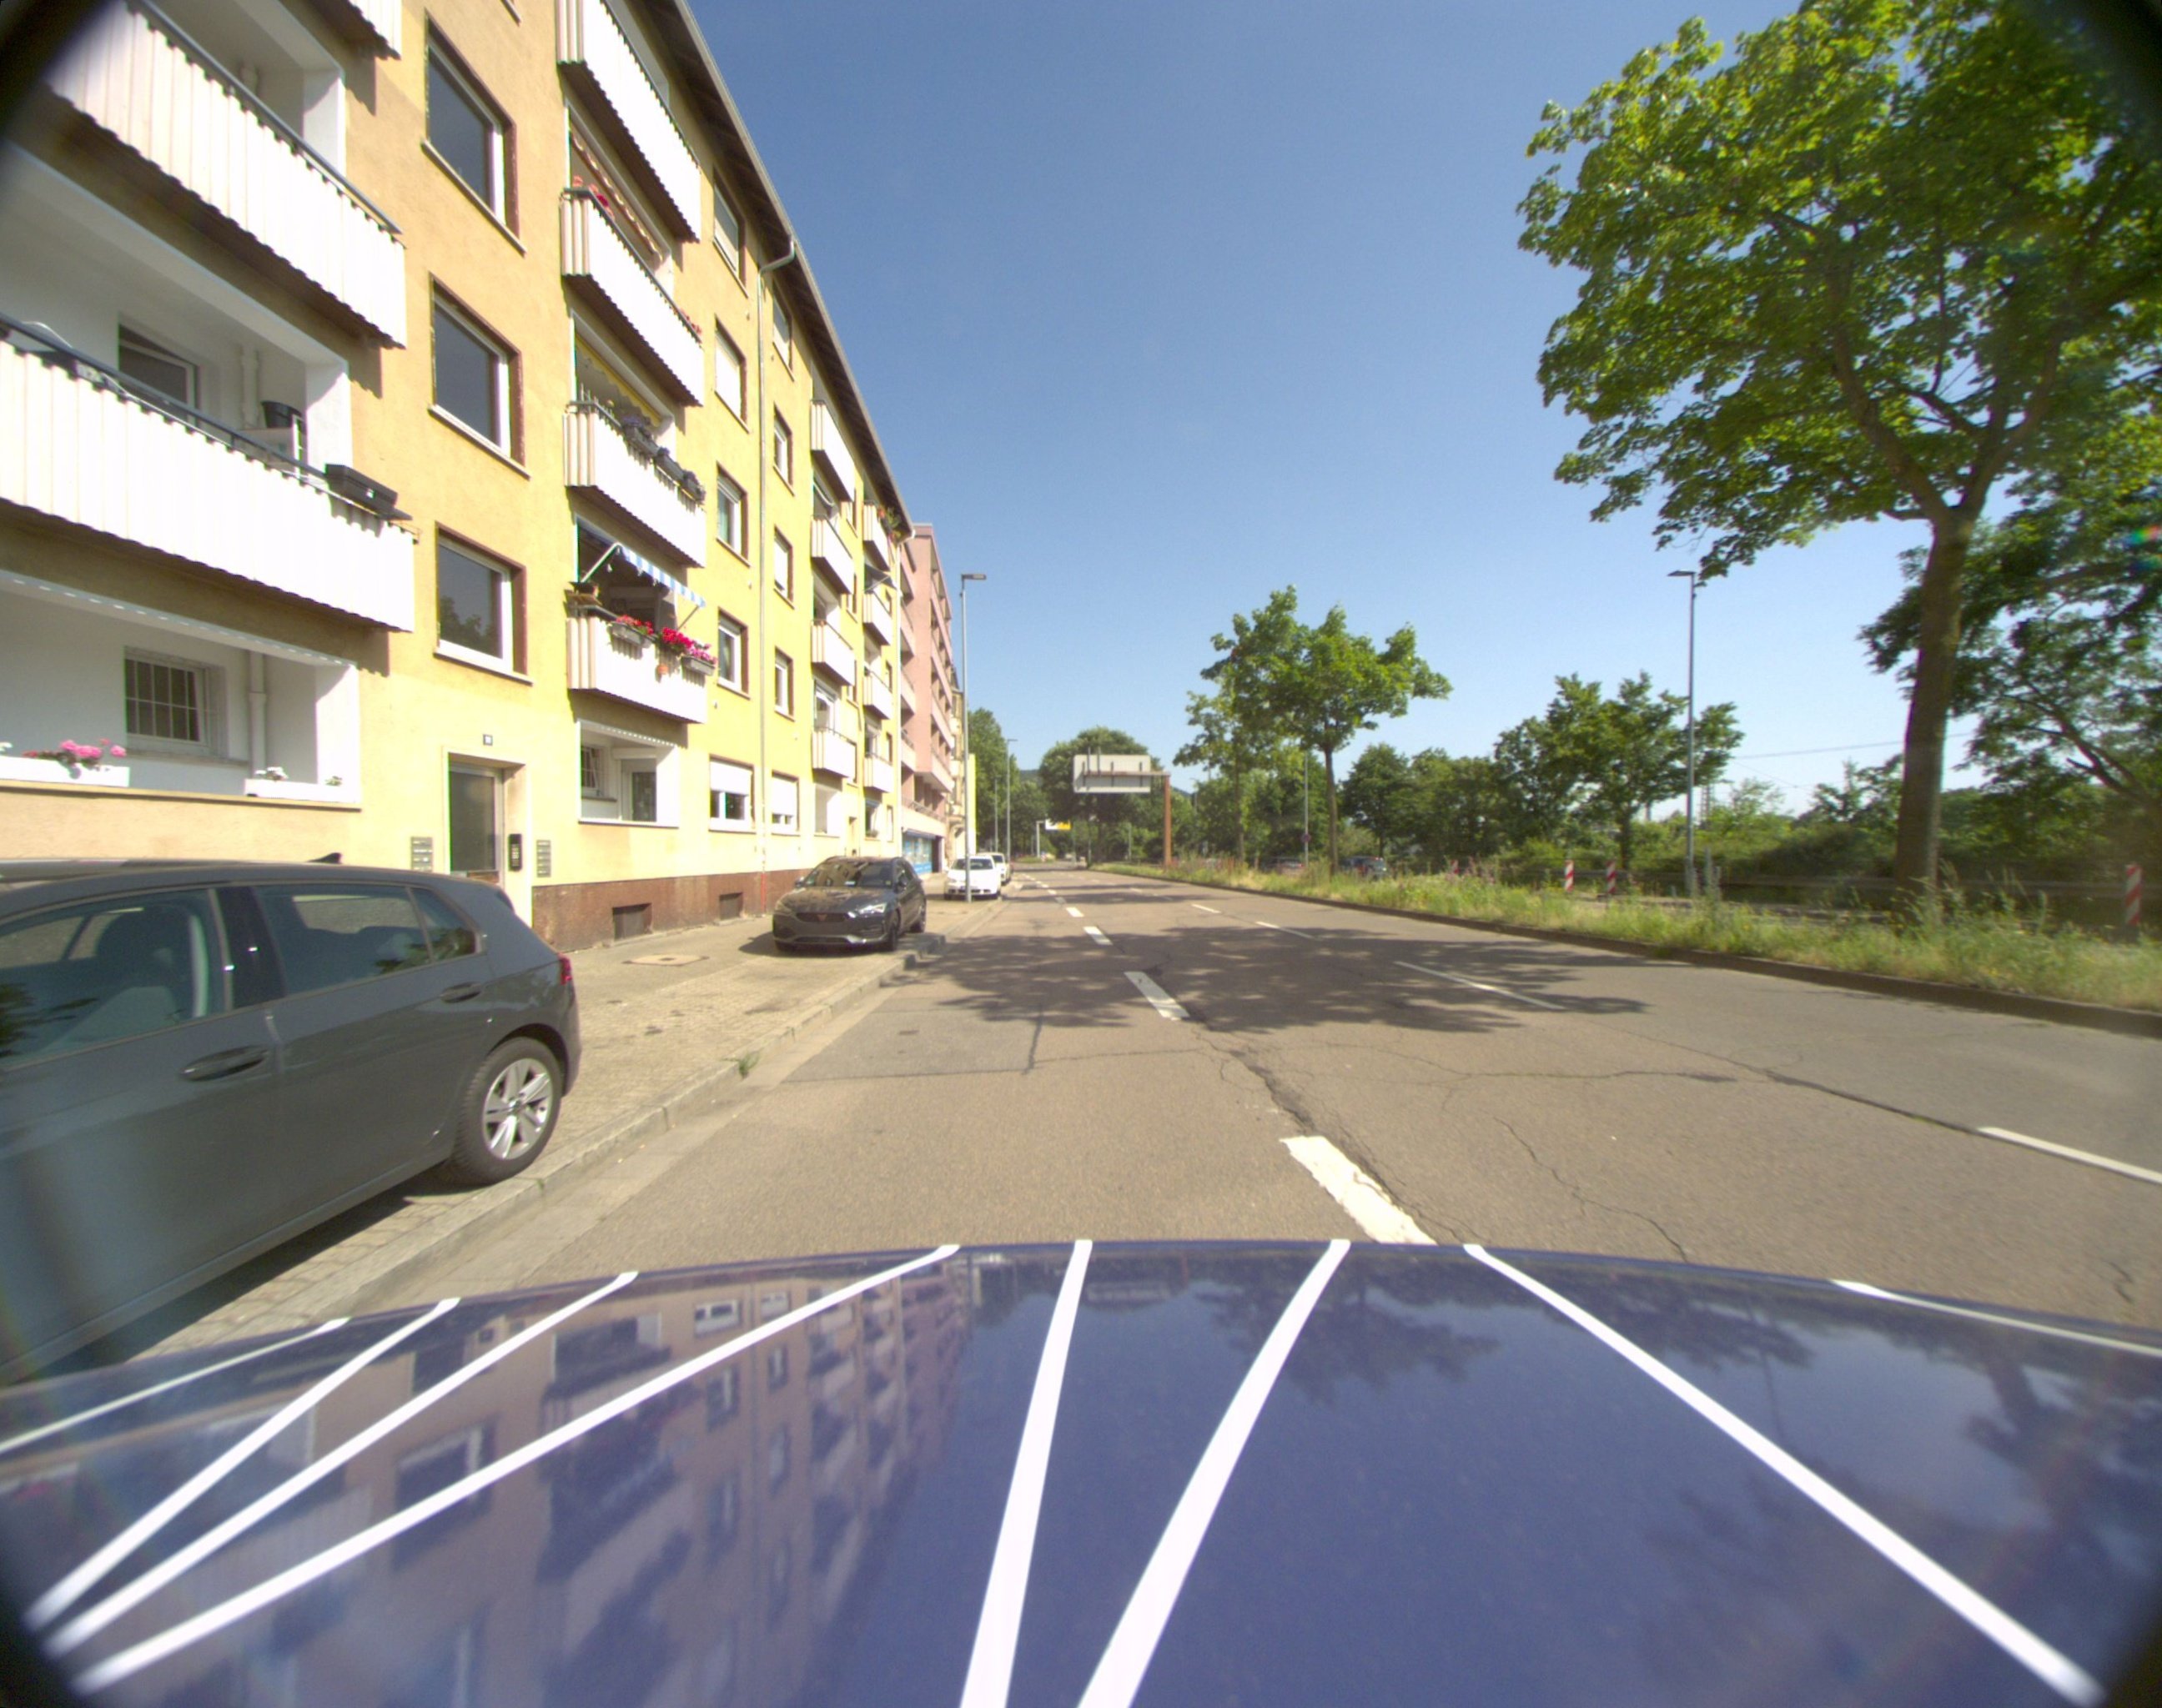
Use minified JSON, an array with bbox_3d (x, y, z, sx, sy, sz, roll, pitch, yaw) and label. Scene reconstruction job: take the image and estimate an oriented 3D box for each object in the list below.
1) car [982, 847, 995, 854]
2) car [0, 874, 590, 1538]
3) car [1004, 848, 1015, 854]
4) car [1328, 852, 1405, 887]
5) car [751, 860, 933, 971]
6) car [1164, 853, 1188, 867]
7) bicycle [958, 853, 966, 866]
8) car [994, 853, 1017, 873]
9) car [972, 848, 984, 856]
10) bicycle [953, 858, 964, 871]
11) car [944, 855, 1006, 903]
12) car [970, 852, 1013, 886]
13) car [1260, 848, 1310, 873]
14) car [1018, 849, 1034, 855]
[{"bbox_3d":[-21.539,-0.852,177.087,1.805,1.511,3.956,0,1,-25],"label":"car"},{"bbox_3d":[-3.345,0.852,1.771,1.715,1.453,4.254,-1,0,-2],"label":"car"},{"bbox_3d":[-16.820,-0.705,177.516,1.648,1.492,3.643,0,0,-21],"label":"car"},{"bbox_3d":[12.739,0.638,34.121,1.768,1.465,4.083,0,0,-3],"label":"car"},{"bbox_3d":[-3.731,0.865,12.755,1.805,1.430,4.588,-1,0,-3],"label":"car"},{"bbox_3d":[9.811,0.594,78.587,1.650,1.408,3.968,-1,0,-6],"label":"car"},{"bbox_3d":[-10.442,0.470,66.717,0.657,1.139,1.625,1,0,-9],"label":"bicycle"},{"bbox_3d":[-5.867,0.652,59.271,1.790,1.473,3.998,0,1,-5],"label":"car"},{"bbox_3d":[-24.950,-0.513,183.502,2.002,1.880,3.992,-1,1,-21],"label":"car"},{"bbox_3d":[-9.379,0.785,58.241,0.652,0.964,1.863,0,1,-5],"label":"bicycle"},{"bbox_3d":[-3.569,0.797,26.200,1.761,1.497,4.126,0,0,-3],"label":"car"},{"bbox_3d":[-4.278,0.681,36.676,1.741,1.532,4.352,0,1,-3],"label":"car"},{"bbox_3d":[12.893,0.388,48.279,1.803,1.521,3.997,-1,1,-5],"label":"car"},{"bbox_3d":[-11.998,-0.430,165.548,2.002,1.403,4.606,0,1,-21],"label":"car"}]
